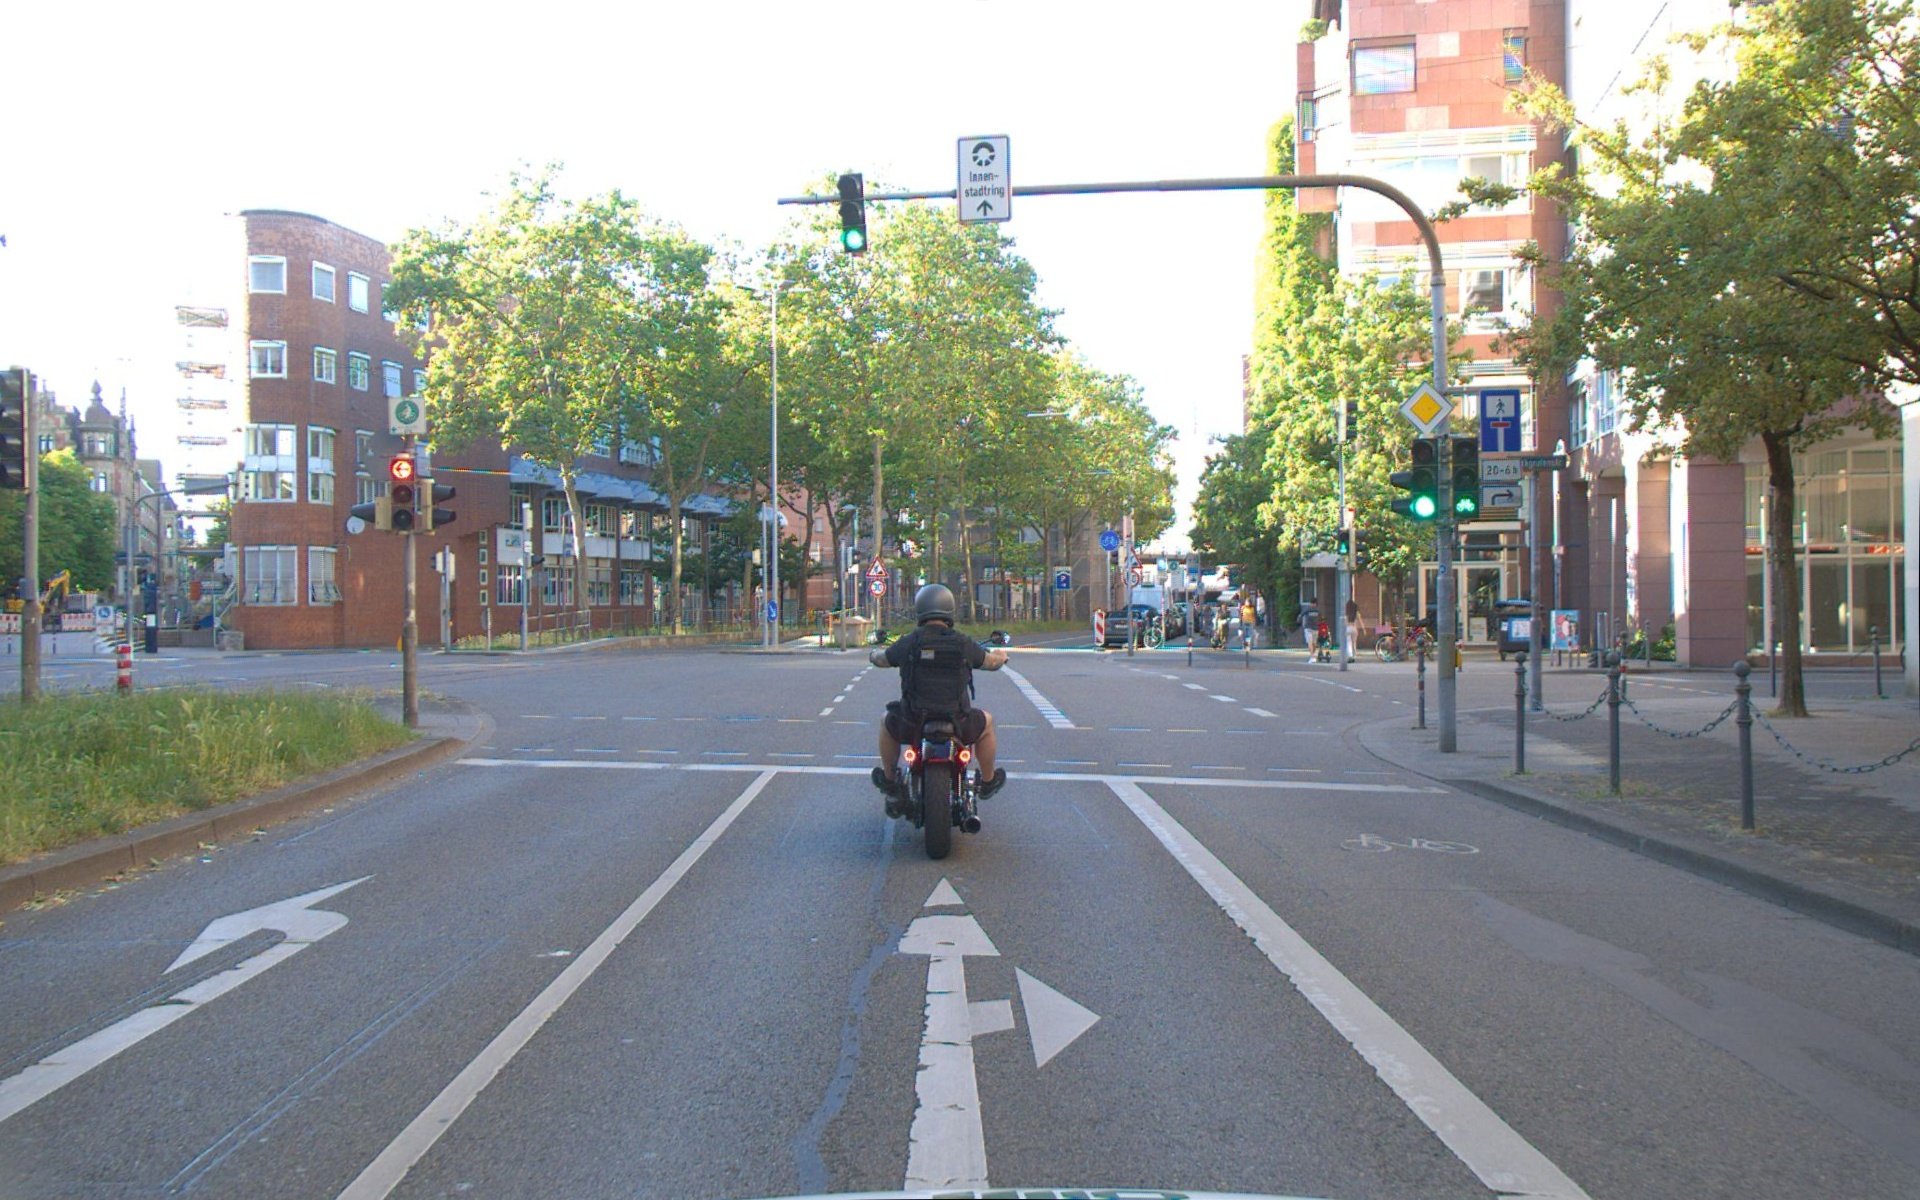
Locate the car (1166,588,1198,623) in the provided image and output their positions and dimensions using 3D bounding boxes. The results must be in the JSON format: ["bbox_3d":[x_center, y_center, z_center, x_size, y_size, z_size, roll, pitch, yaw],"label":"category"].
[{"bbox_3d":[13.551,0.347,100.784,1.796,2.049,4.391,-1,0,9],"label":"car"}]

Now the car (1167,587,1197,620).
[{"bbox_3d":[14.361,0.226,106.823,1.796,2.049,4.391,-1,0,9],"label":"car"}]

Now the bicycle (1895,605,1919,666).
[{"bbox_3d":[18.872,0.650,31.290,1.874,1.132,0.804,-1,0,8],"label":"bicycle"}]

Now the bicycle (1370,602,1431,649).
[{"bbox_3d":[11.959,0.700,44.938,1.534,1.248,0.578,-1,0,5],"label":"bicycle"}]

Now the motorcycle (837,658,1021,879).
[{"bbox_3d":[-0.162,0.955,10.033,0.997,1.116,2.008,0,0,0],"label":"motorcycle"}]

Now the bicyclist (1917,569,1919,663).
[{"bbox_3d":[18.729,0.295,31.303,0.807,1.801,0.789,-1,0,8],"label":"bicyclist"}]

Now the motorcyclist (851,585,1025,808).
[{"bbox_3d":[-0.127,0.562,10.109,0.991,1.285,0.774,1,0,0],"label":"motorcyclist"}]

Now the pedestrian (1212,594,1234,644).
[{"bbox_3d":[8.561,0.612,53.794,0.630,1.606,0.748,-1,0,3],"label":"pedestrian"}]

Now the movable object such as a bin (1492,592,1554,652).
[{"bbox_3d":[14.393,0.553,42.299,1.380,1.508,0.872,-1,0,11],"label":"movable object such as a bin"}]

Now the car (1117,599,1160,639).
[{"bbox_3d":[7.680,0.805,71.055,1.585,1.647,4.489,-1,0,9],"label":"car"}]

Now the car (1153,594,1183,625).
[{"bbox_3d":[11.350,0.522,90.174,1.585,1.638,3.777,-1,0,8],"label":"car"}]

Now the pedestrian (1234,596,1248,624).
[{"bbox_3d":[15.334,0.548,90.297,0.749,1.471,0.781,0,-1,8],"label":"pedestrian"}]

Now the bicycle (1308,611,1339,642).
[{"bbox_3d":[11.695,0.854,53.195,0.721,0.956,1.753,-1,0,4],"label":"bicycle"}]

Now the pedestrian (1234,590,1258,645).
[{"bbox_3d":[9.267,0.562,53.639,0.685,1.764,0.768,-1,0,3],"label":"pedestrian"}]

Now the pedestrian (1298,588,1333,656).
[{"bbox_3d":[9.511,0.582,44.307,0.770,1.794,0.609,-1,0,-3],"label":"pedestrian"}]

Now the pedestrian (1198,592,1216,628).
[{"bbox_3d":[11.482,0.461,76.896,0.747,1.673,0.547,-1,0,2],"label":"pedestrian"}]

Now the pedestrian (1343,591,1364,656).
[{"bbox_3d":[10.441,0.627,43.893,0.449,1.702,0.680,-1,0,5],"label":"pedestrian"}]

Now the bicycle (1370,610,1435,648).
[{"bbox_3d":[12.828,0.847,47.973,1.712,1.071,0.738,-1,0,27],"label":"bicycle"}]

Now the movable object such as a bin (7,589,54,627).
[{"bbox_3d":[-59.429,0.486,105.795,1.894,2.351,2.777,-1,0,-15],"label":"movable object such as a bin"}]

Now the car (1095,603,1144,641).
[{"bbox_3d":[5.902,0.788,60.884,1.585,1.325,4.315,-1,0,8],"label":"car"}]

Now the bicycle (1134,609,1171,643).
[{"bbox_3d":[6.275,0.841,53.997,0.723,1.071,1.748,-1,0,-9],"label":"bicycle"}]

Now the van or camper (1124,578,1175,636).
[{"bbox_3d":[8.913,0.321,77.487,2.005,2.585,5.778,-1,0,10],"label":"van or camper"}]

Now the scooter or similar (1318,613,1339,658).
[{"bbox_3d":[9.897,0.940,44.448,0.386,1.178,1.250,-1,0,6],"label":"scooter or similar"}]
